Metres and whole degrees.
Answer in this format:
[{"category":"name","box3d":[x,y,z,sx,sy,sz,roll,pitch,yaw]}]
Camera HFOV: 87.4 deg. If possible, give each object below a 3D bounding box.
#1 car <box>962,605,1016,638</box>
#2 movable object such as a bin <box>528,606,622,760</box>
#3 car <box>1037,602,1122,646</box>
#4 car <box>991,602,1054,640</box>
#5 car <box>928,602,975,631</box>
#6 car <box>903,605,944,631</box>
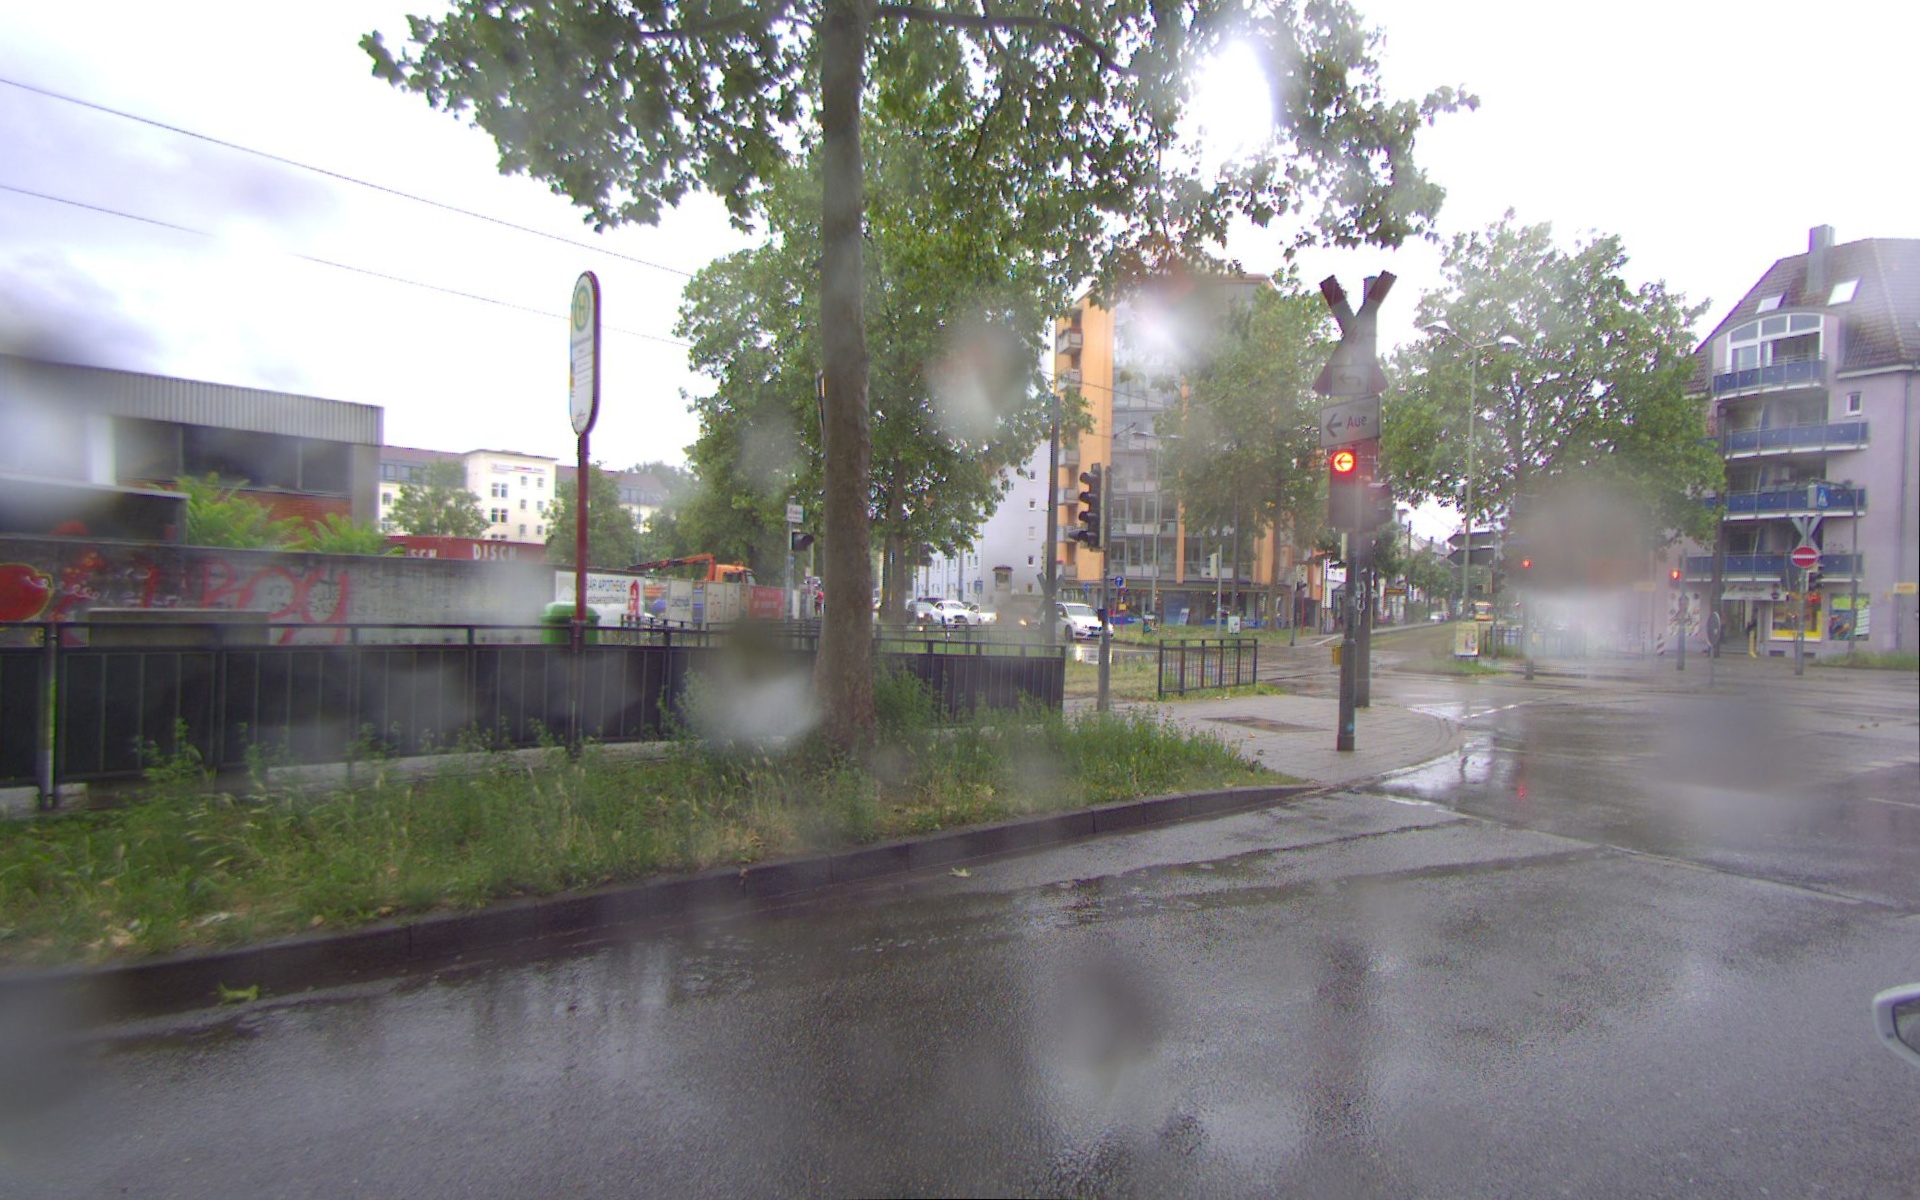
[{"category":"car","box3d":[1.486,1.142,52.447,1.697,1.661,3.780,1,-1,-17]},{"category":"movable object such as a bin","box3d":[-2.892,0.603,7.561,0.412,1.104,0.528,0,-1,44]},{"category":"car","box3d":[4.728,0.978,40.335,1.941,1.673,4.004,1,-1,-17]},{"category":"car","box3d":[2.834,0.988,46.232,1.697,1.661,3.780,1,-1,-17]},{"category":"car","box3d":[-0.519,0.972,58.291,1.697,1.661,3.780,1,-1,-17]},{"category":"car","box3d":[-2.350,1.164,64.487,1.697,1.661,3.780,1,-1,-17]}]
